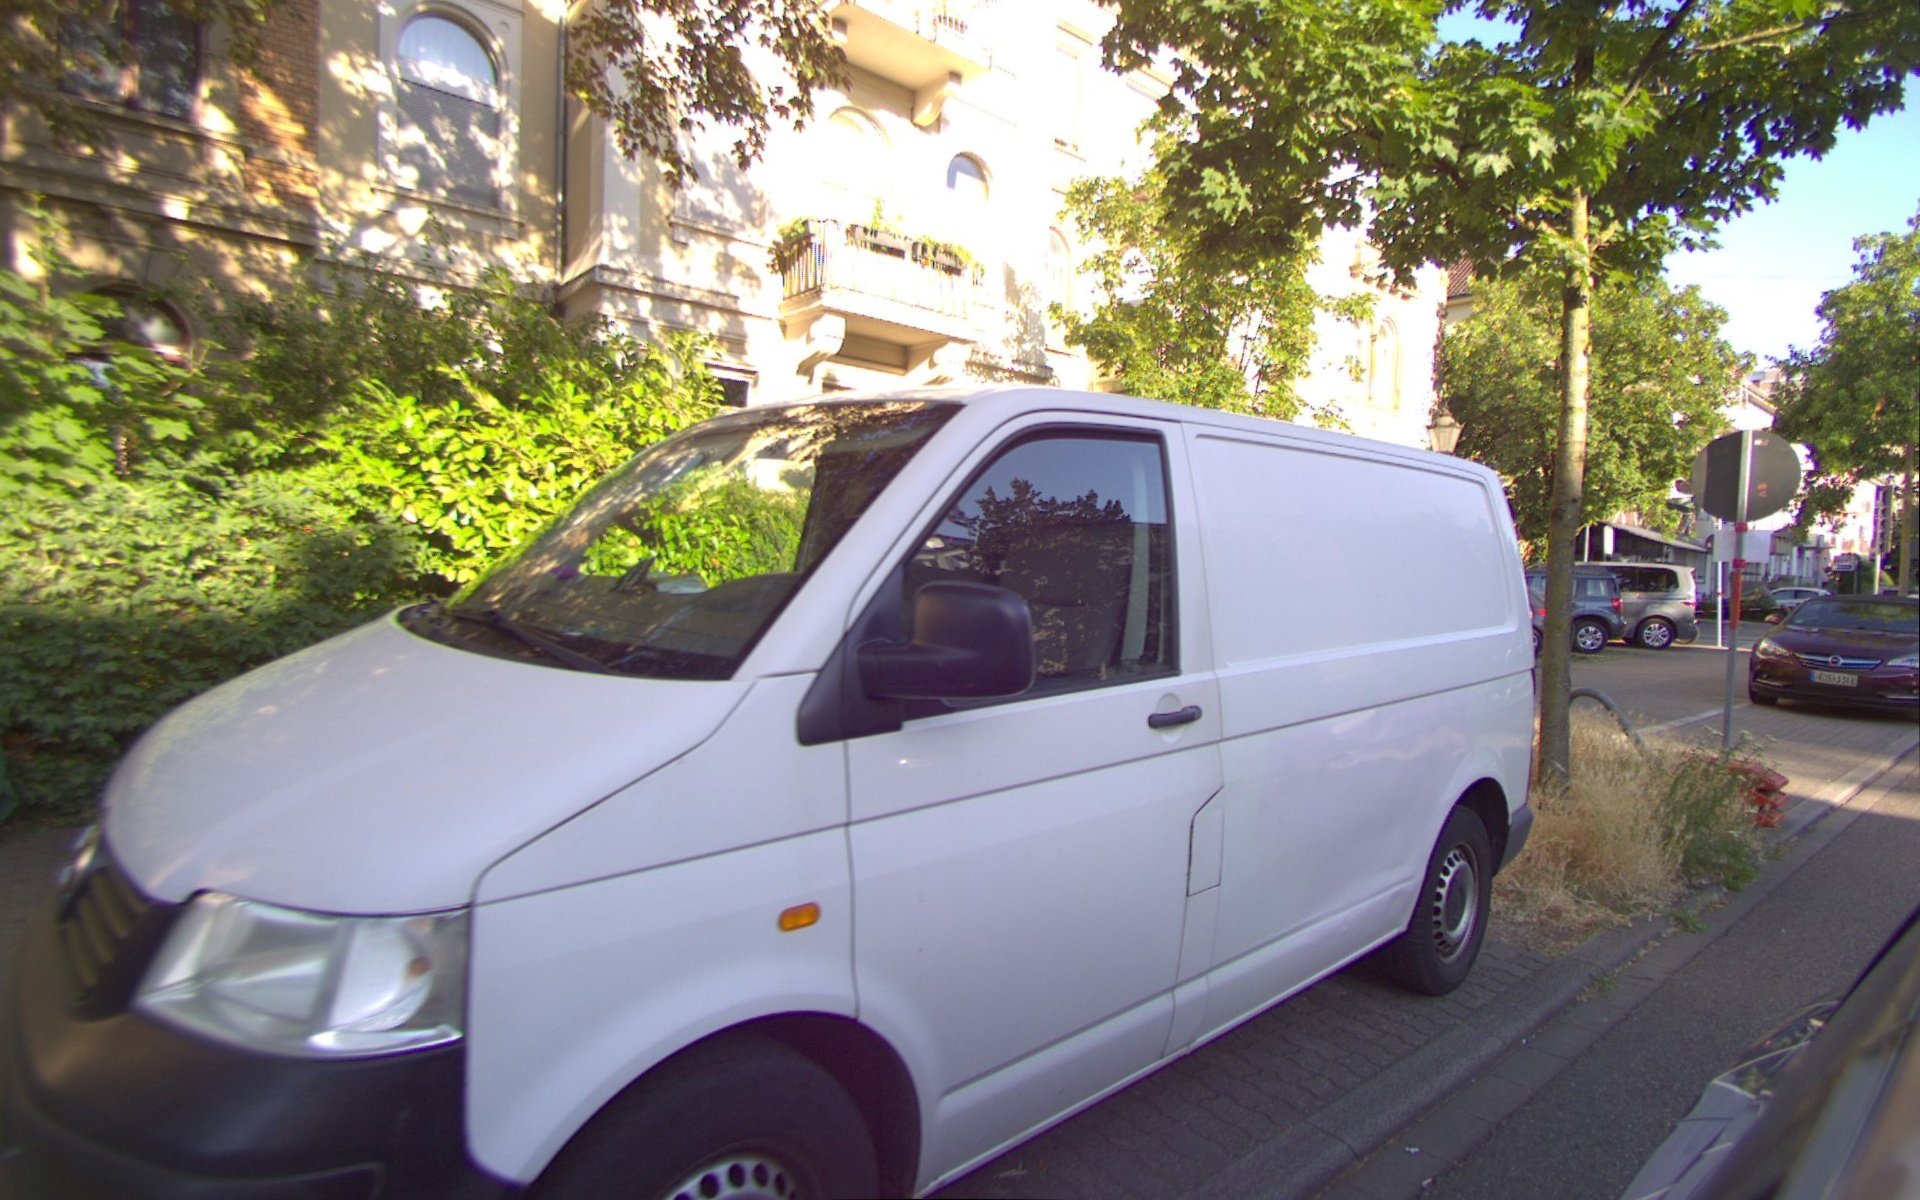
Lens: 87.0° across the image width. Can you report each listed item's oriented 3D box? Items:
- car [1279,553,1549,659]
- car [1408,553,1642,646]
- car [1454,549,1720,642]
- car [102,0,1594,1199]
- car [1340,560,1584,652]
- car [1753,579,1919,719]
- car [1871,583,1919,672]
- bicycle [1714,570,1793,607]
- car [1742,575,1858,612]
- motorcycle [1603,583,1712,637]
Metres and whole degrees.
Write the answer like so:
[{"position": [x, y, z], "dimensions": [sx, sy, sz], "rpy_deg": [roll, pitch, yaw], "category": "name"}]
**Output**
[{"position": [8.171, 0.035, 18.325], "dimensions": [4.220, 1.529, 1.772], "rpy_deg": [5, 3, 32], "category": "car"}, {"position": [11.870, -0.070, 21.593], "dimensions": [4.050, 1.720, 1.776], "rpy_deg": [3, 3, 21], "category": "car"}, {"position": [14.266, -0.161, 23.408], "dimensions": [4.881, 1.923, 1.907], "rpy_deg": [2, 2, 22], "category": "car"}, {"position": [0.224, 0.255, 3.288], "dimensions": [4.561, 2.129, 1.906], "rpy_deg": [-1, 2, -42], "category": "car"}, {"position": [9.767, 0.047, 19.936], "dimensions": [4.061, 1.458, 1.701], "rpy_deg": [4, 3, 27], "category": "car"}, {"position": [11.837, 0.522, 12.953], "dimensions": [4.534, 1.437, 1.761], "rpy_deg": [-1, 5, -41], "category": "car"}, {"position": [18.246, 0.475, 18.442], "dimensions": [4.540, 1.496, 1.825], "rpy_deg": [0, 2, -40], "category": "car"}, {"position": [32.985, -0.504, 42.103], "dimensions": [0.912, 1.459, 2.457], "rpy_deg": [0, 2, -42], "category": "bicycle"}, {"position": [37.869, -0.333, 45.666], "dimensions": [1.550, 1.523, 3.869], "rpy_deg": [-1, 3, -45], "category": "car"}, {"position": [17.449, 0.220, 25.340], "dimensions": [2.153, 1.255, 0.778], "rpy_deg": [3, 2, 40], "category": "motorcycle"}]
